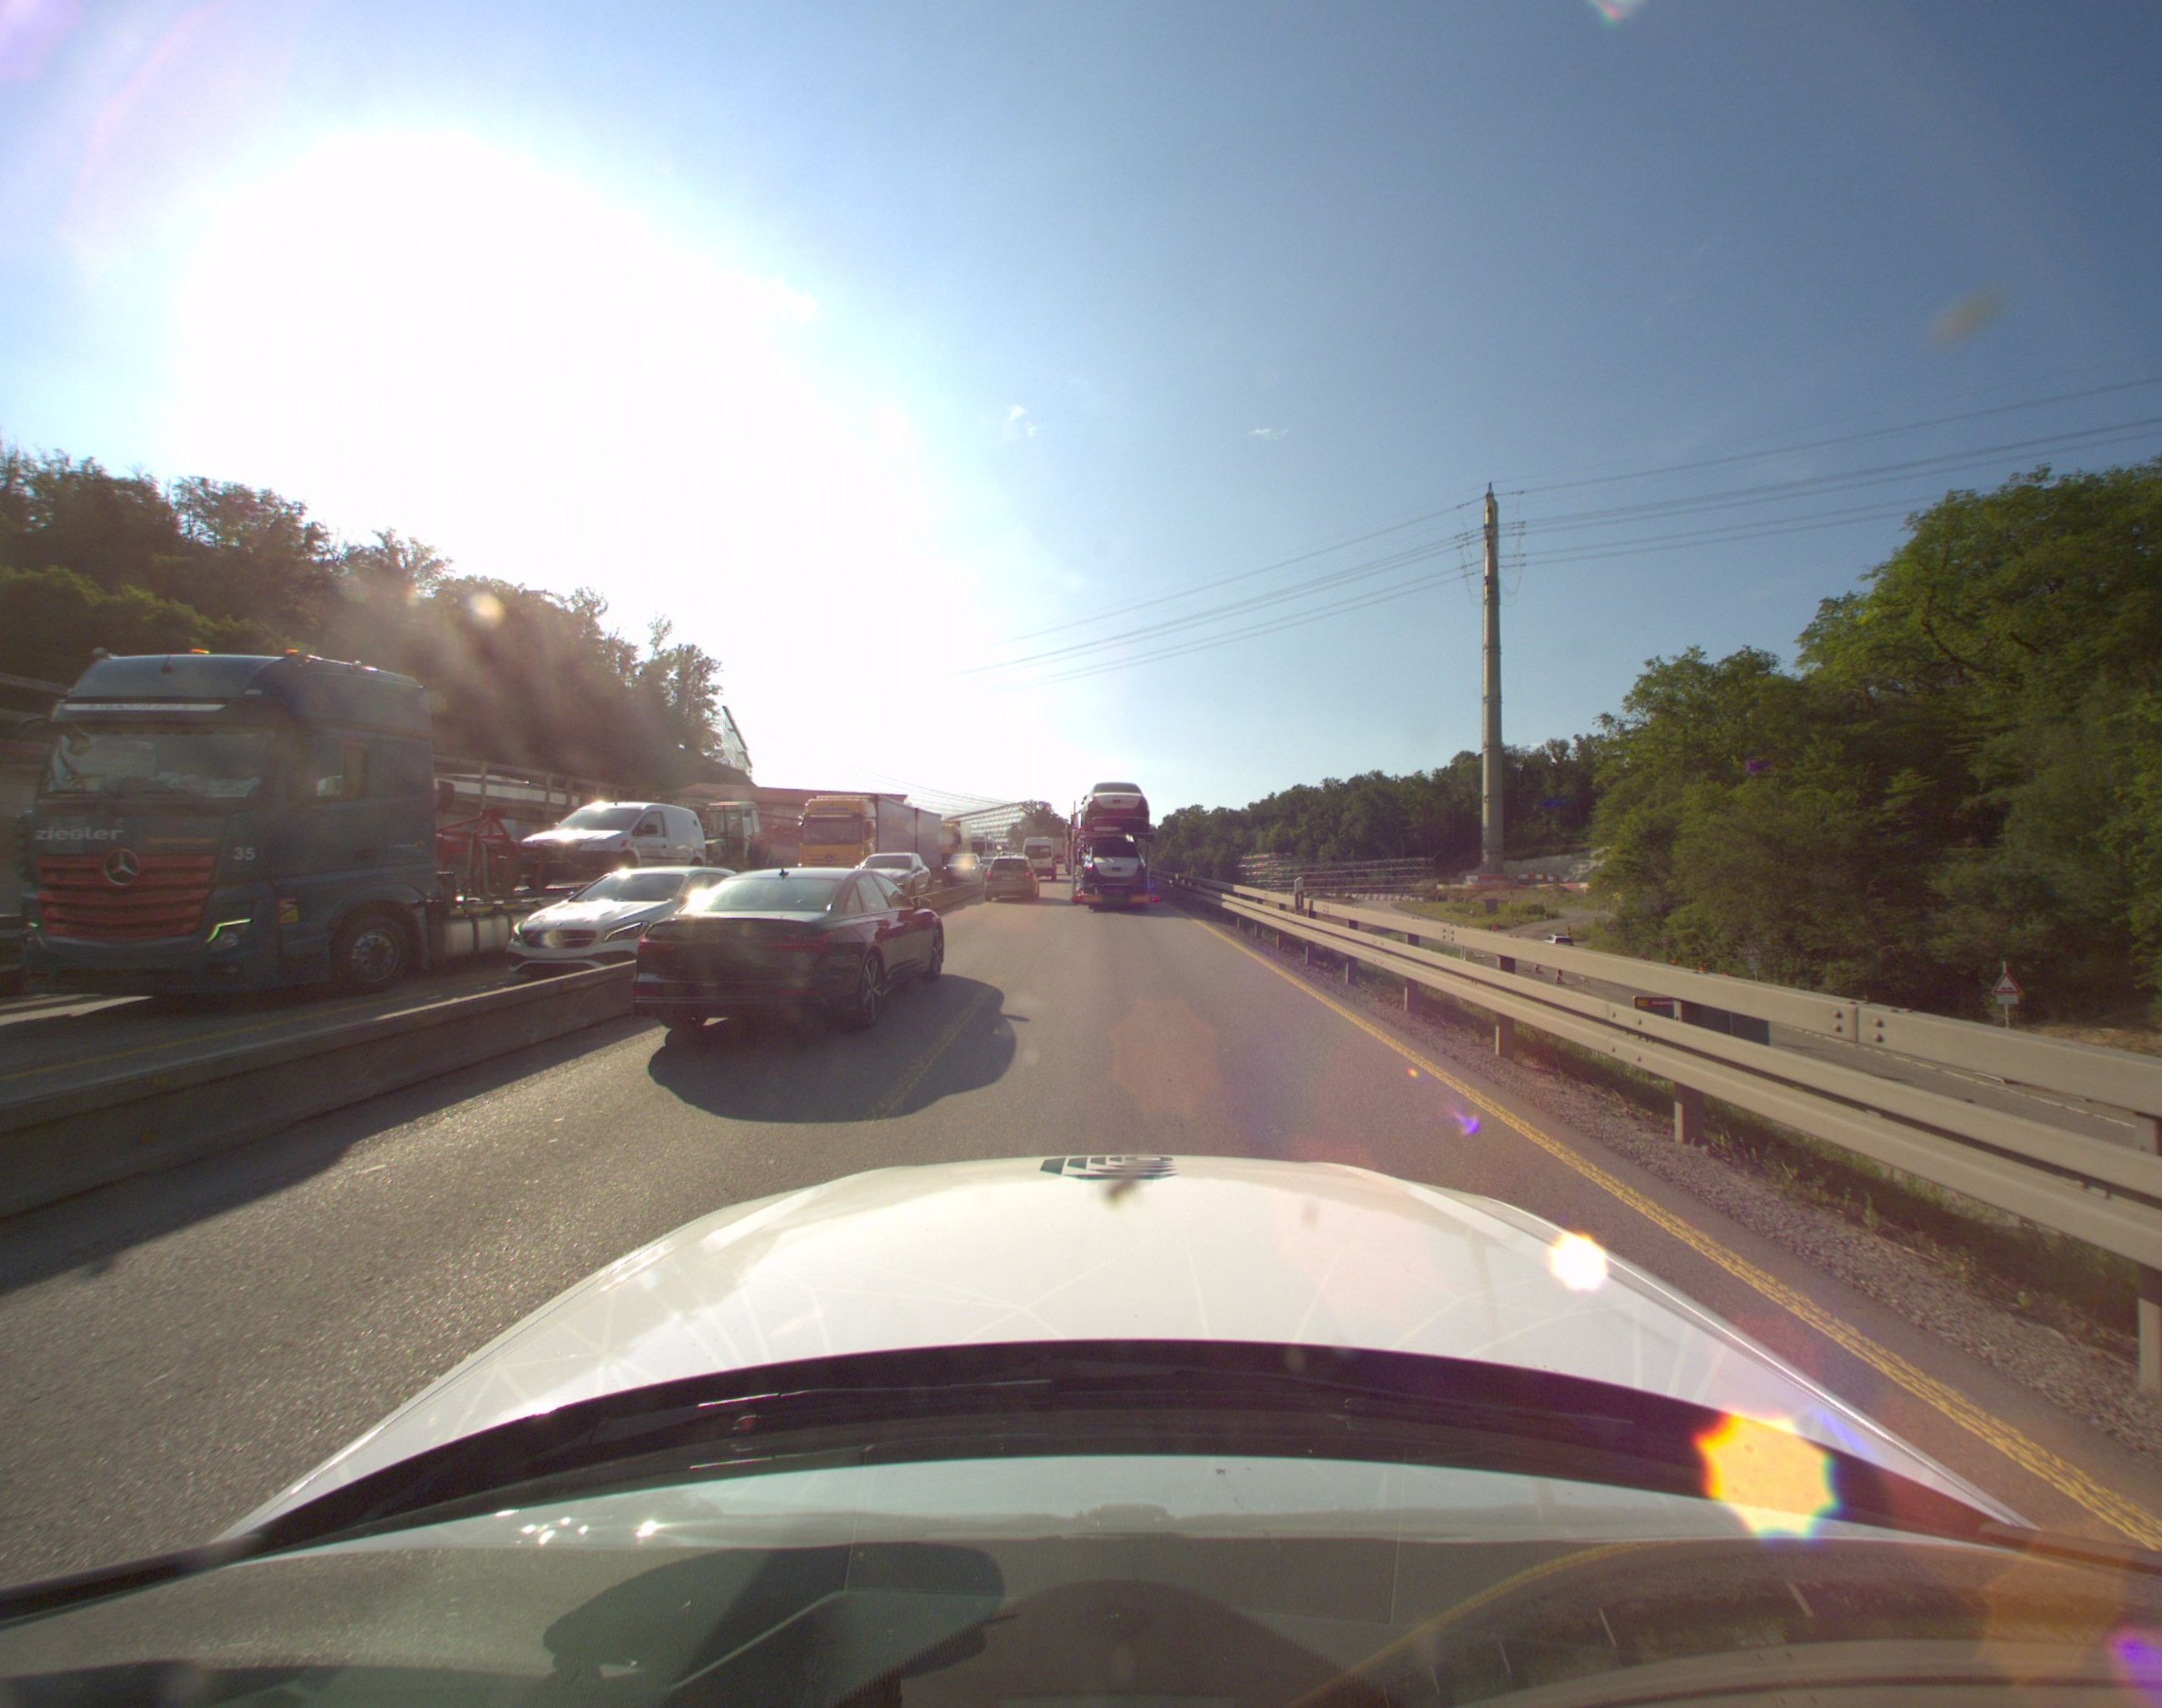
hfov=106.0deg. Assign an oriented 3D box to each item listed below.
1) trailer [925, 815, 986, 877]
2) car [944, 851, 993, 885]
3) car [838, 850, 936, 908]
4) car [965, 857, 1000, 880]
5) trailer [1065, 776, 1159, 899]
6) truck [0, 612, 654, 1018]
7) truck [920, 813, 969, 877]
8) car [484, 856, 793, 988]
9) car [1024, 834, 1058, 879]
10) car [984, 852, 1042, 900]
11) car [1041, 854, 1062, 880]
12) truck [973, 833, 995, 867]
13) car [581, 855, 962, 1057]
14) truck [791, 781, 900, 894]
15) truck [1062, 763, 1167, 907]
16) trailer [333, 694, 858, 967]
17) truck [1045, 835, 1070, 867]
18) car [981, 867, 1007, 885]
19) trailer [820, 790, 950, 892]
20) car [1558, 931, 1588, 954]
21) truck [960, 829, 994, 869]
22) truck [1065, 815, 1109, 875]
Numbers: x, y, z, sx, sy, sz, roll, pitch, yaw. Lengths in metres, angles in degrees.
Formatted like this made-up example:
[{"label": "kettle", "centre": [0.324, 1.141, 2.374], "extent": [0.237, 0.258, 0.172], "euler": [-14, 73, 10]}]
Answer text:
[{"label": "trailer", "centre": [-9.585, -0.405, 64.104], "extent": [2.694, 4.204, 15.984], "euler": [-1, -1, -2]}, {"label": "car", "centre": [-5.927, 0.761, 43.368], "extent": [1.921, 1.701, 4.689], "euler": [-1, -1, 0]}, {"label": "car", "centre": [-6.030, 0.776, 25.943], "extent": [1.953, 1.645, 4.847], "euler": [-1, -1, 0]}, {"label": "car", "centre": [-6.653, 0.994, 55.308], "extent": [1.783, 1.498, 4.723], "euler": [-1, -1, 0]}, {"label": "trailer", "centre": [0.878, -0.414, 34.358], "extent": [2.867, 3.994, 15.266], "euler": [-1, -1, -2]}, {"label": "truck", "centre": [-9.274, -0.340, 11.328], "extent": [2.739, 3.805, 7.112], "euler": [-2, -1, 1]}, {"label": "truck", "centre": [-9.339, -0.550, 56.155], "extent": [2.687, 4.197, 4.394], "euler": [-1, -1, -2]}, {"label": "car", "centre": [-6.160, 0.843, 12.163], "extent": [1.796, 1.521, 4.819], "euler": [-2, -1, 2]}, {"label": "car", "centre": [-2.449, 0.188, 50.712], "extent": [1.974, 2.684, 4.143], "euler": [-1, -1, -2]}, {"label": "car", "centre": [-2.406, 0.769, 29.587], "extent": [1.695, 1.587, 4.146], "euler": [-1, -1, 0]}, {"label": "car", "centre": [-2.415, 1.072, 65.754], "extent": [1.525, 2.014, 3.995], "euler": [2, -1, -3]}, {"label": "truck", "centre": [-12.475, -0.431, 104.946], "extent": [2.439, 4.272, 6.311], "euler": [-1, -1, -5]}, {"label": "car", "centre": [-2.739, 0.807, 8.798], "extent": [1.933, 1.480, 5.224], "euler": [-1, -1, 2]}, {"label": "truck", "centre": [-9.311, -0.551, 32.866], "extent": [2.693, 4.141, 5.791], "euler": [-1, -1, -1]}, {"label": "truck", "centre": [1.013, -0.486, 25.602], "extent": [2.859, 3.980, 5.773], "euler": [-1, -1, 2]}, {"label": "trailer", "centre": [-9.134, -0.270, 19.645], "extent": [2.739, 3.816, 16.048], "euler": [-2, -1, 1]}, {"label": "truck", "centre": [-3.697, -0.483, 127.551], "extent": [3.639, 4.677, 11.686], "euler": [0, 0, -2]}, {"label": "car", "centre": [-7.161, 1.800, 67.452], "extent": [1.792, 1.453, 4.612], "euler": [-1, -1, -2]}, {"label": "trailer", "centre": [-9.377, -0.384, 41.728], "extent": [2.706, 4.135, 16.744], "euler": [-1, -1, -1]}, {"label": "car", "centre": [40.477, 7.258, 66.946], "extent": [1.511, 1.461, 4.294], "euler": [-2, -1, 39]}, {"label": "truck", "centre": [-11.183, -0.381, 88.735], "extent": [2.803, 3.970, 13.872], "euler": [-1, -1, -4]}, {"label": "truck", "centre": [0.368, -0.768, 69.331], "extent": [3.220, 4.677, 11.686], "euler": [0, 0, -2]}]
